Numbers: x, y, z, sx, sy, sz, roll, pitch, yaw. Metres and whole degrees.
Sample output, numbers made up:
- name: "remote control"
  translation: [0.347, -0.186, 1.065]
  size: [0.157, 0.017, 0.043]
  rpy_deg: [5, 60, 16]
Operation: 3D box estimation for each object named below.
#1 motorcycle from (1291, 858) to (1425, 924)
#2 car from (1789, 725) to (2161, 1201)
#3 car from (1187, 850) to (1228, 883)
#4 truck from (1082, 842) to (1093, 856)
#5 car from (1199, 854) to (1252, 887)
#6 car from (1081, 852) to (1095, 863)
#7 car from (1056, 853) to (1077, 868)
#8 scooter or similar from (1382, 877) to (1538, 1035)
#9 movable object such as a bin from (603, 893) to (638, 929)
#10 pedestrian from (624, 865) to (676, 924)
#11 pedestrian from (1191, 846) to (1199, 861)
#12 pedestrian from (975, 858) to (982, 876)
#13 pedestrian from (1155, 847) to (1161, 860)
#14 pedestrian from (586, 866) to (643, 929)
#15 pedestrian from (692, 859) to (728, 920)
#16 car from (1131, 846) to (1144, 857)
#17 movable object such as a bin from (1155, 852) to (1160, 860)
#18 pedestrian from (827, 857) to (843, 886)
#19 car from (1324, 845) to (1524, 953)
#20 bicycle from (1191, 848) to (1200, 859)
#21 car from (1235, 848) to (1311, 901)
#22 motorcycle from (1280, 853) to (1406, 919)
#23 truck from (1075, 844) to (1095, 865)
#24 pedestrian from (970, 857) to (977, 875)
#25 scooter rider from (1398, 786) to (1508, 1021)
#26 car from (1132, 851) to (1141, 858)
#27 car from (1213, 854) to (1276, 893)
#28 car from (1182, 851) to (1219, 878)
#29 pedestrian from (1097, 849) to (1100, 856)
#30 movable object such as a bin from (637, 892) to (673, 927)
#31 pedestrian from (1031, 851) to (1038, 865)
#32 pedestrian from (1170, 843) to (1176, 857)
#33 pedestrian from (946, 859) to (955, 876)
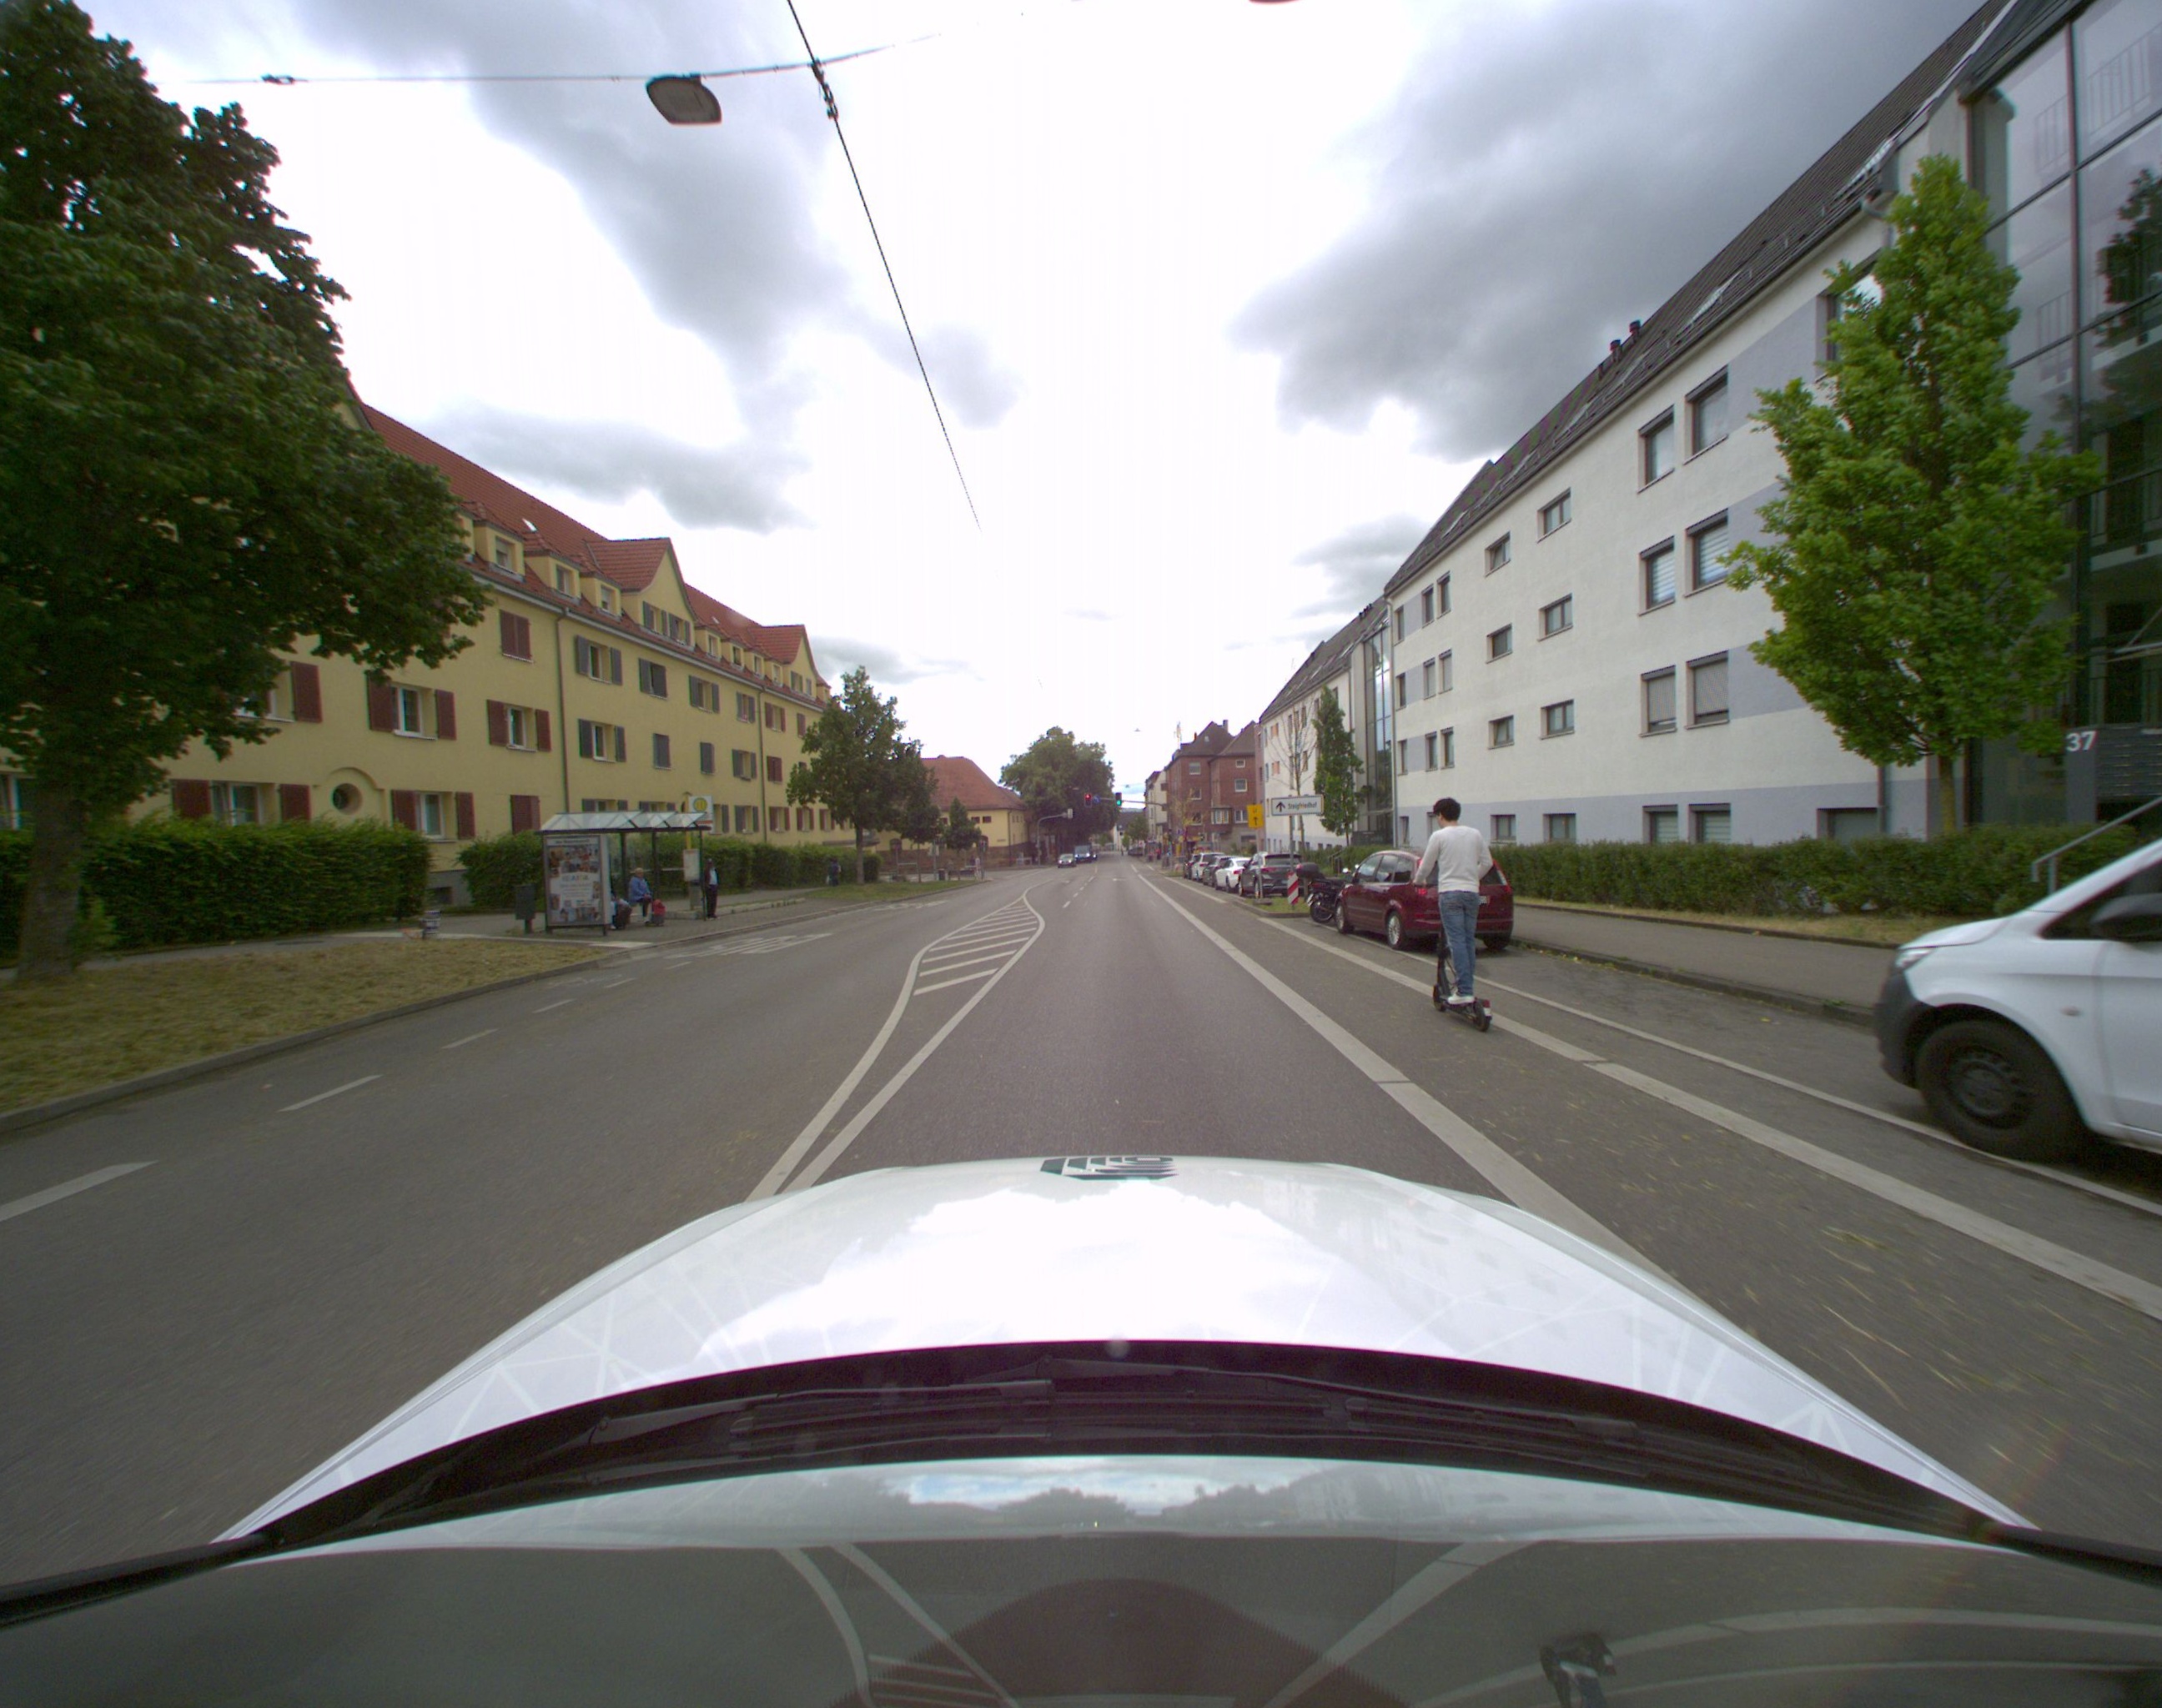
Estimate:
- name: "motorcycle"
  translation: [5.869, 0.768, 17.324]
  size: [2.591, 1.278, 0.752]
  rpy_deg: [-2, 0, -2]
- name: "car"
  translation: [5.369, 0.428, 2.476]
  size: [1.986, 1.944, 5.213]
  rpy_deg: [-1, 0, 2]
- name: "car"
  translation: [7.023, 0.643, 45.535]
  size: [1.653, 1.716, 4.552]
  rpy_deg: [0, 0, 1]
- name: "truck"
  translation: [1.581, -1.228, 195.731]
  size: [2.222, 3.346, 7.452]
  rpy_deg: [-1, 0, 2]
- name: "car"
  translation: [6.798, 0.733, 38.772]
  size: [1.739, 1.467, 4.950]
  rpy_deg: [0, 0, 1]
- name: "car"
  translation: [1.018, 0.523, 120.850]
  size: [1.695, 1.414, 4.197]
  rpy_deg: [-3, 0, 4]
- name: "car"
  translation: [-1.509, 0.667, 86.432]
  size: [1.748, 1.472, 4.311]
  rpy_deg: [-3, 0, 4]
- name: "scooter or similar"
  translation: [3.377, 0.836, 7.464]
  size: [0.489, 1.163, 2.075]
  rpy_deg: [-1, 0, 2]
- name: "movable object such as a bin"
  translation: [-11.210, 1.384, 19.839]
  size: [0.462, 0.826, 0.665]
  rpy_deg: [0, 0, 3]
- name: "pedestrian"
  translation: [-11.215, 1.045, 21.196]
  size: [0.896, 1.510, 0.807]
  rpy_deg: [0, -1, 2]
- name: "pedestrian"
  translation: [13.114, -0.096, 93.534]
  size: [0.785, 1.656, 0.773]
  rpy_deg: [-4, 0, 2]
- name: "pedestrian"
  translation: [-10.208, 1.275, 81.332]
  size: [0.561, 1.777, 0.717]
  rpy_deg: [-1, 0, 2]
- name: "pedestrian"
  translation: [10.030, -0.024, 106.634]
  size: [0.560, 1.637, 0.684]
  rpy_deg: [-1, 0, 22]
- name: "pedestrian"
  translation: [-11.343, 1.043, 19.828]
  size: [0.896, 1.474, 0.807]
  rpy_deg: [0, 0, 2]
- name: "pedestrian"
  translation: [-10.721, 1.003, 23.554]
  size: [0.594, 1.726, 0.862]
  rpy_deg: [-1, 0, 5]
- name: "car"
  translation: [11.007, -0.519, 159.215]
  size: [1.987, 1.935, 4.917]
  rpy_deg: [-2, 0, 0]
- name: "movable object such as a bin"
  translation: [9.976, 0.294, 106.417]
  size: [0.449, 1.056, 0.412]
  rpy_deg: [-2, 0, 22]
- name: "pedestrian"
  translation: [-13.792, 0.986, 45.685]
  size: [0.638, 1.619, 0.618]
  rpy_deg: [-1, 0, 1]
- name: "car"
  translation: [5.656, 0.641, 14.078]
  size: [1.675, 1.544, 4.340]
  rpy_deg: [-1, 0, 1]
- name: "bicycle"
  translation: [13.128, -0.102, 93.021]
  size: [0.757, 1.193, 2.393]
  rpy_deg: [-1, 0, 2]
- name: "car"
  translation: [6.413, 0.626, 27.643]
  size: [1.626, 1.650, 4.357]
  rpy_deg: [0, 0, 1]
- name: "motorcycle"
  translation: [5.888, 0.710, 18.374]
  size: [2.591, 1.380, 0.692]
  rpy_deg: [-2, 0, -2]
- name: "truck"
  translation: [0.477, 0.055, 103.611]
  size: [2.288, 2.427, 6.410]
  rpy_deg: [-3, 0, 0]
- name: "pedestrian"
  translation: [-10.806, 1.195, 82.004]
  size: [0.561, 1.777, 0.842]
  rpy_deg: [-1, 0, 2]
- name: "scooter rider"
  translation: [3.361, 0.428, 7.419]
  size: [0.623, 2.013, 0.758]
  rpy_deg: [-1, 0, 1]
- name: "car"
  translation: [12.457, 0.119, 183.090]
  size: [1.663, 1.547, 3.755]
  rpy_deg: [-2, 0, 0]
- name: "car"
  translation: [6.547, 0.741, 33.077]
  size: [1.724, 1.413, 4.500]
  rpy_deg: [0, 0, 1]
- name: "car"
  translation: [7.361, 0.659, 50.563]
  size: [1.728, 1.588, 4.573]
  rpy_deg: [0, 0, 1]
- name: "pedestrian"
  translation: [5.584, -0.471, 258.864]
  size: [0.630, 2.013, 0.785]
  rpy_deg: [-1, 0, 4]
- name: "movable object such as a bin"
  translation: [-11.064, 1.437, 21.164]
  size: [0.534, 0.845, 0.665]
  rpy_deg: [0, 0, 3]
- name: "pedestrian"
  translation: [-5.915, 0.490, 103.943]
  size: [0.671, 1.765, 0.726]
  rpy_deg: [-2, 0, 4]
- name: "pedestrian"
  translation: [11.715, -0.568, 103.798]
  size: [0.644, 1.750, 0.779]
  rpy_deg: [-1, 0, 7]
- name: "pedestrian"
  translation: [-12.072, 1.258, 75.463]
  size: [0.560, 1.566, 0.844]
  rpy_deg: [-1, 0, 7]
